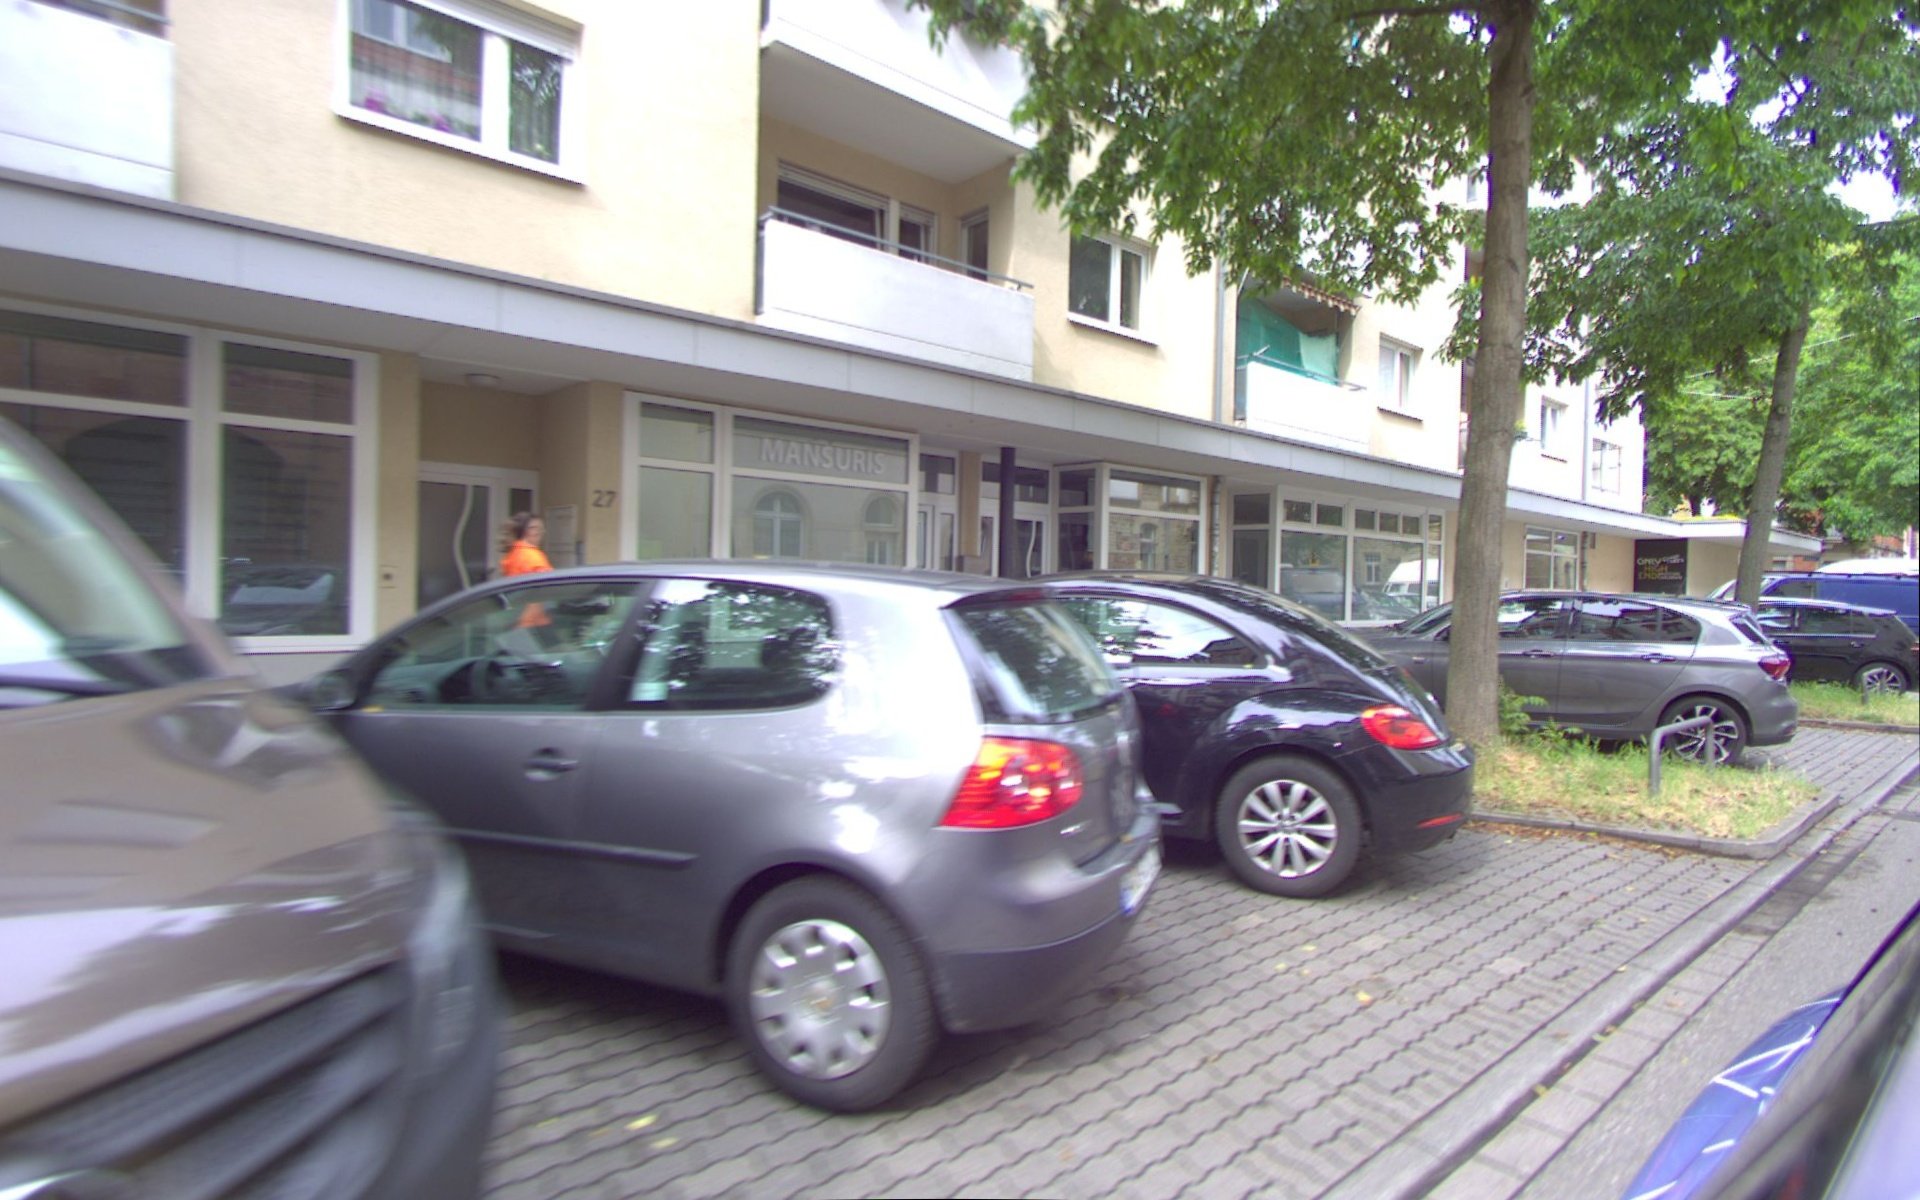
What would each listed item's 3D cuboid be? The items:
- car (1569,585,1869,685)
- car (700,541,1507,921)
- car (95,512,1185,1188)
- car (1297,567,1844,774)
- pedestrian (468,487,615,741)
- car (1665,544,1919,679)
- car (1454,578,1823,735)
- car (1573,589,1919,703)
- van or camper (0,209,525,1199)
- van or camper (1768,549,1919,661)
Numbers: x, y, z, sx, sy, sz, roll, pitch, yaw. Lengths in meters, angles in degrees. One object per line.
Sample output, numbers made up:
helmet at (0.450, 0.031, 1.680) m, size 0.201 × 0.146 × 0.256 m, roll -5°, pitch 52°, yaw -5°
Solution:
car at (13.142, 0.528, 17.856) m, size 3.874 × 1.483 × 1.809 m, roll 2°, pitch 2°, yaw 26°
car at (0.742, 0.476, 5.866) m, size 4.006 × 1.501 × 1.934 m, roll 3°, pitch 2°, yaw 22°
car at (-1.243, 0.481, 3.978) m, size 3.821 × 1.521 × 1.897 m, roll 3°, pitch 2°, yaw 25°
car at (5.549, 0.525, 9.936) m, size 4.175 × 1.519 × 1.964 m, roll 3°, pitch 3°, yaw 20°
pedestrian at (-3.106, 0.085, 7.509) m, size 0.834 × 1.763 × 0.625 m, roll 0°, pitch 2°, yaw -40°
car at (16.489, 0.208, 19.112) m, size 4.634 × 2.223 × 2.060 m, roll 4°, pitch 2°, yaw 12°
car at (7.709, 0.546, 11.926) m, size 3.338 × 1.515 × 1.835 m, roll 2°, pitch 2°, yaw 27°
car at (11.952, 0.624, 15.449) m, size 4.060 × 1.460 × 1.842 m, roll 2°, pitch 2°, yaw 19°
van or camper at (-3.656, 0.298, 2.212) m, size 4.965 × 1.892 × 2.112 m, roll 3°, pitch 2°, yaw 22°
van or camper at (22.890, 0.116, 24.701) m, size 4.534 × 2.628 × 1.900 m, roll 0°, pitch 0°, yaw 18°
